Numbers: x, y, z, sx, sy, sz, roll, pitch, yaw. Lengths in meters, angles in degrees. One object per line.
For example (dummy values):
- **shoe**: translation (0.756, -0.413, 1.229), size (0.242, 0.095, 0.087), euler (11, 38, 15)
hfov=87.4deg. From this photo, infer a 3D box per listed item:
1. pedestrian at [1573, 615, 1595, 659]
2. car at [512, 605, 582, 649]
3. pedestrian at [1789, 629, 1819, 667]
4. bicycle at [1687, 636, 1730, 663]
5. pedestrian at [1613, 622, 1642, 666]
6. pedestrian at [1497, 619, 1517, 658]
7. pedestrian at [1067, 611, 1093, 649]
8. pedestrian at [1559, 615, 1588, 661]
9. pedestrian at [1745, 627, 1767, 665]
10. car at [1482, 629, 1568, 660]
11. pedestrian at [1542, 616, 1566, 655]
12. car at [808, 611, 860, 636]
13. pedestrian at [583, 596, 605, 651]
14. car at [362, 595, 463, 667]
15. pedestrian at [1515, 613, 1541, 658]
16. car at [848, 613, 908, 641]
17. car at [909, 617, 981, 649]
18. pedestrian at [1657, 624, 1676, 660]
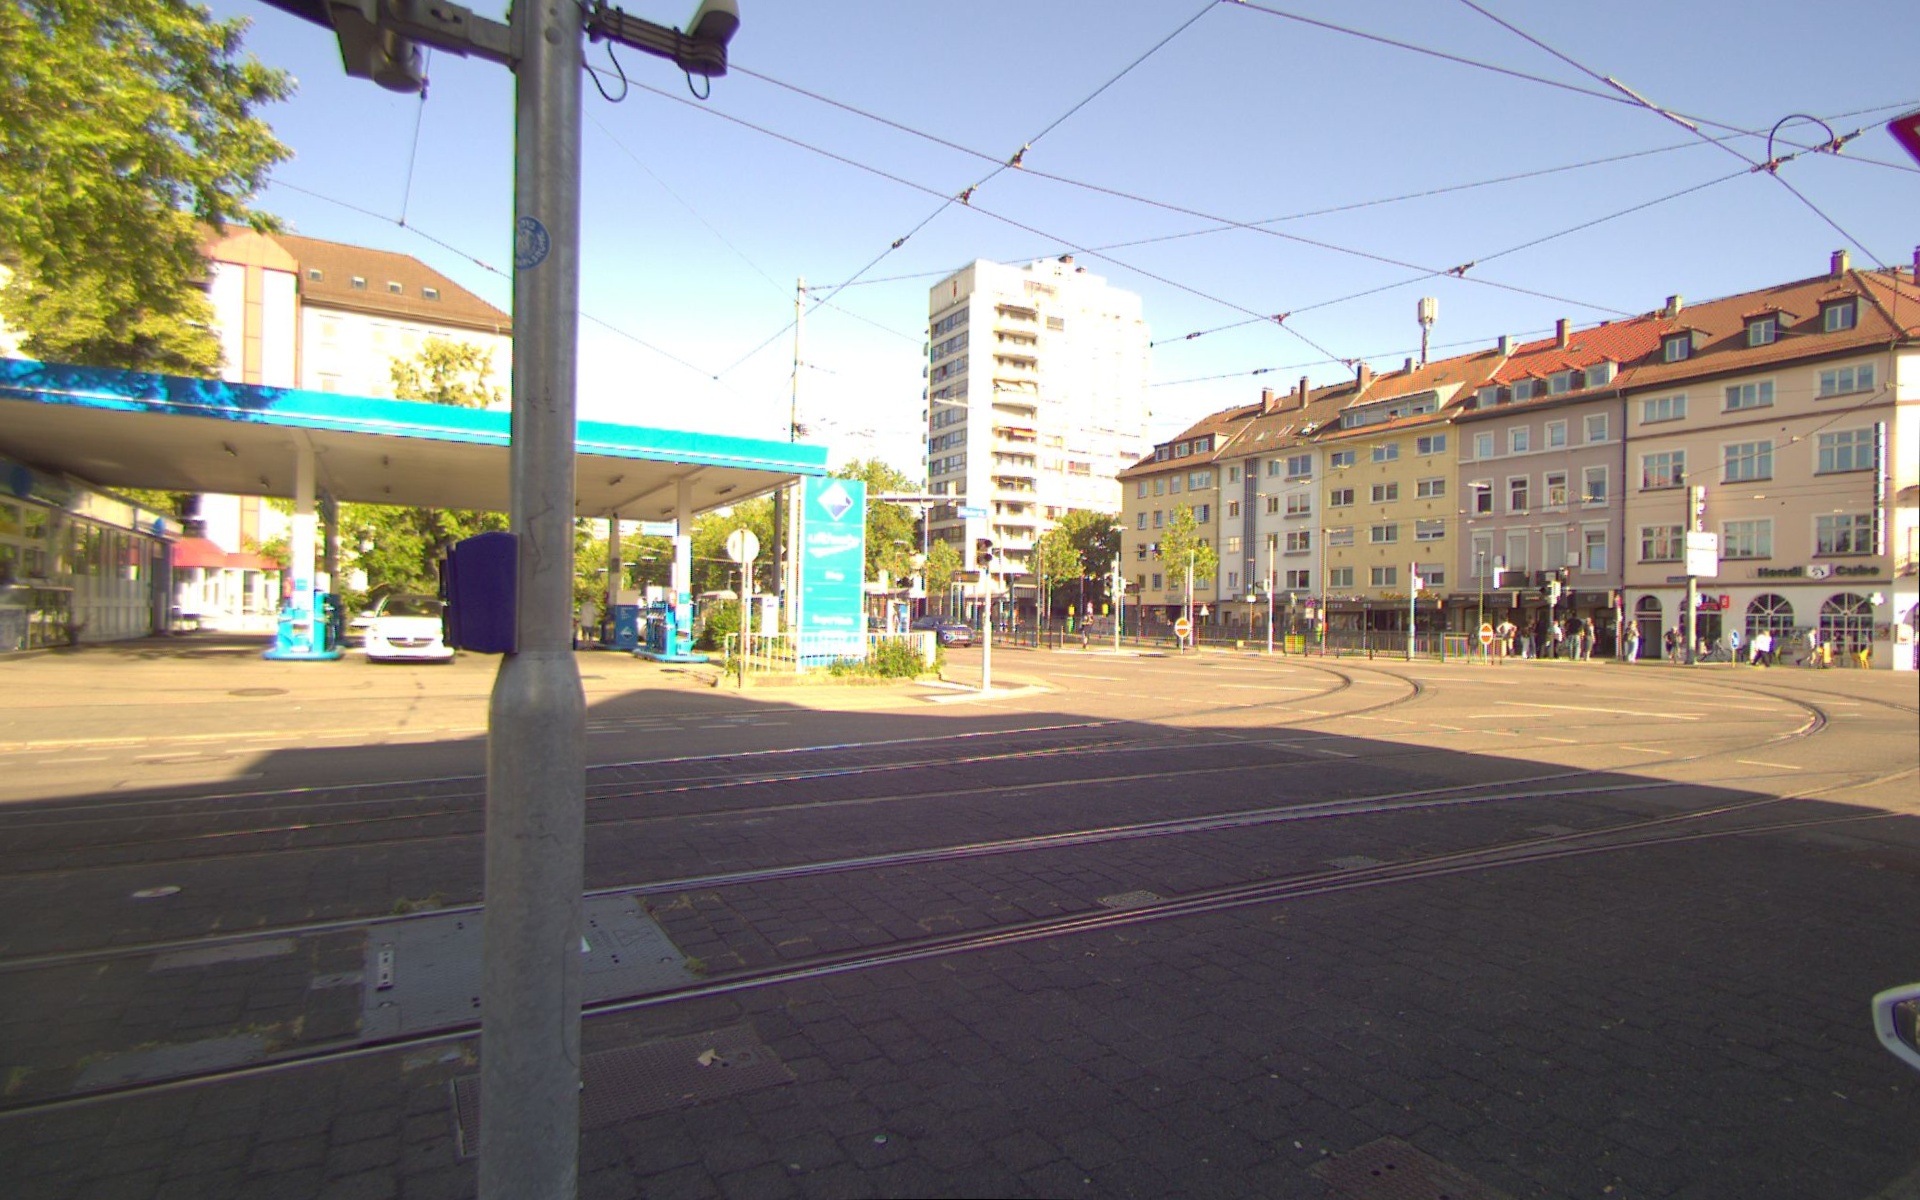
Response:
- **pedestrian**: translation (25.556, 1.505, 41.137), size (0.554, 1.810, 0.556), euler (1, -1, -35)
- **car**: translation (-13.578, 0.854, 32.874), size (1.697, 1.360, 3.970), euler (1, -1, -28)
- **pedestrian**: translation (38.750, 2.203, 46.118), size (0.736, 1.704, 0.902), euler (1, -1, -36)
- **bicycle**: translation (37.593, 2.471, 50.462), size (1.693, 1.293, 0.385), euler (0, -1, 44)
- **pedestrian**: translation (26.438, 1.736, 39.779), size (0.621, 1.704, 0.737), euler (1, -1, -30)
- **pedestrian**: translation (24.043, 1.677, 44.172), size (0.755, 1.704, 0.628), euler (1, -1, 27)
- **pedestrian**: translation (5.255, 1.303, 43.963), size (0.788, 1.632, 0.766), euler (1, -1, -36)
- **pedestrian**: translation (24.765, 1.529, 40.556), size (0.714, 1.853, 0.763), euler (1, -1, -30)
- **pedestrian**: translation (36.696, 2.097, 46.299), size (0.731, 1.704, 0.626), euler (0, -1, 35)
- **car**: translation (30.742, 2.400, 54.776), size (1.795, 1.511, 3.715), euler (2, 0, -27)
- **pedestrian**: translation (25.033, 1.495, 42.340), size (0.554, 1.602, 0.694), euler (1, -1, -35)
- **car**: translation (-7.616, 1.398, 60.312), size (1.697, 1.439, 4.149), euler (1, -1, -28)
- **pedestrian**: translation (-11.693, 0.749, 32.108), size (0.579, 1.715, 0.756), euler (1, -1, -25)
- **car**: translation (-12.358, 0.668, 22.554), size (1.793, 1.461, 3.966), euler (1, -1, -31)
- **pedestrian**: translation (23.624, 1.474, 41.752), size (0.769, 1.874, 0.625), euler (1, -1, -30)
- **car**: translation (-4.488, 1.445, 54.302), size (1.697, 1.439, 4.149), euler (1, -1, -28)
- **car**: translation (-0.776, 1.531, 47.866), size (1.697, 1.439, 4.149), euler (1, -1, -28)
- **pedestrian**: translation (33.901, 2.025, 48.176), size (0.731, 1.704, 0.626), euler (0, -1, 35)
